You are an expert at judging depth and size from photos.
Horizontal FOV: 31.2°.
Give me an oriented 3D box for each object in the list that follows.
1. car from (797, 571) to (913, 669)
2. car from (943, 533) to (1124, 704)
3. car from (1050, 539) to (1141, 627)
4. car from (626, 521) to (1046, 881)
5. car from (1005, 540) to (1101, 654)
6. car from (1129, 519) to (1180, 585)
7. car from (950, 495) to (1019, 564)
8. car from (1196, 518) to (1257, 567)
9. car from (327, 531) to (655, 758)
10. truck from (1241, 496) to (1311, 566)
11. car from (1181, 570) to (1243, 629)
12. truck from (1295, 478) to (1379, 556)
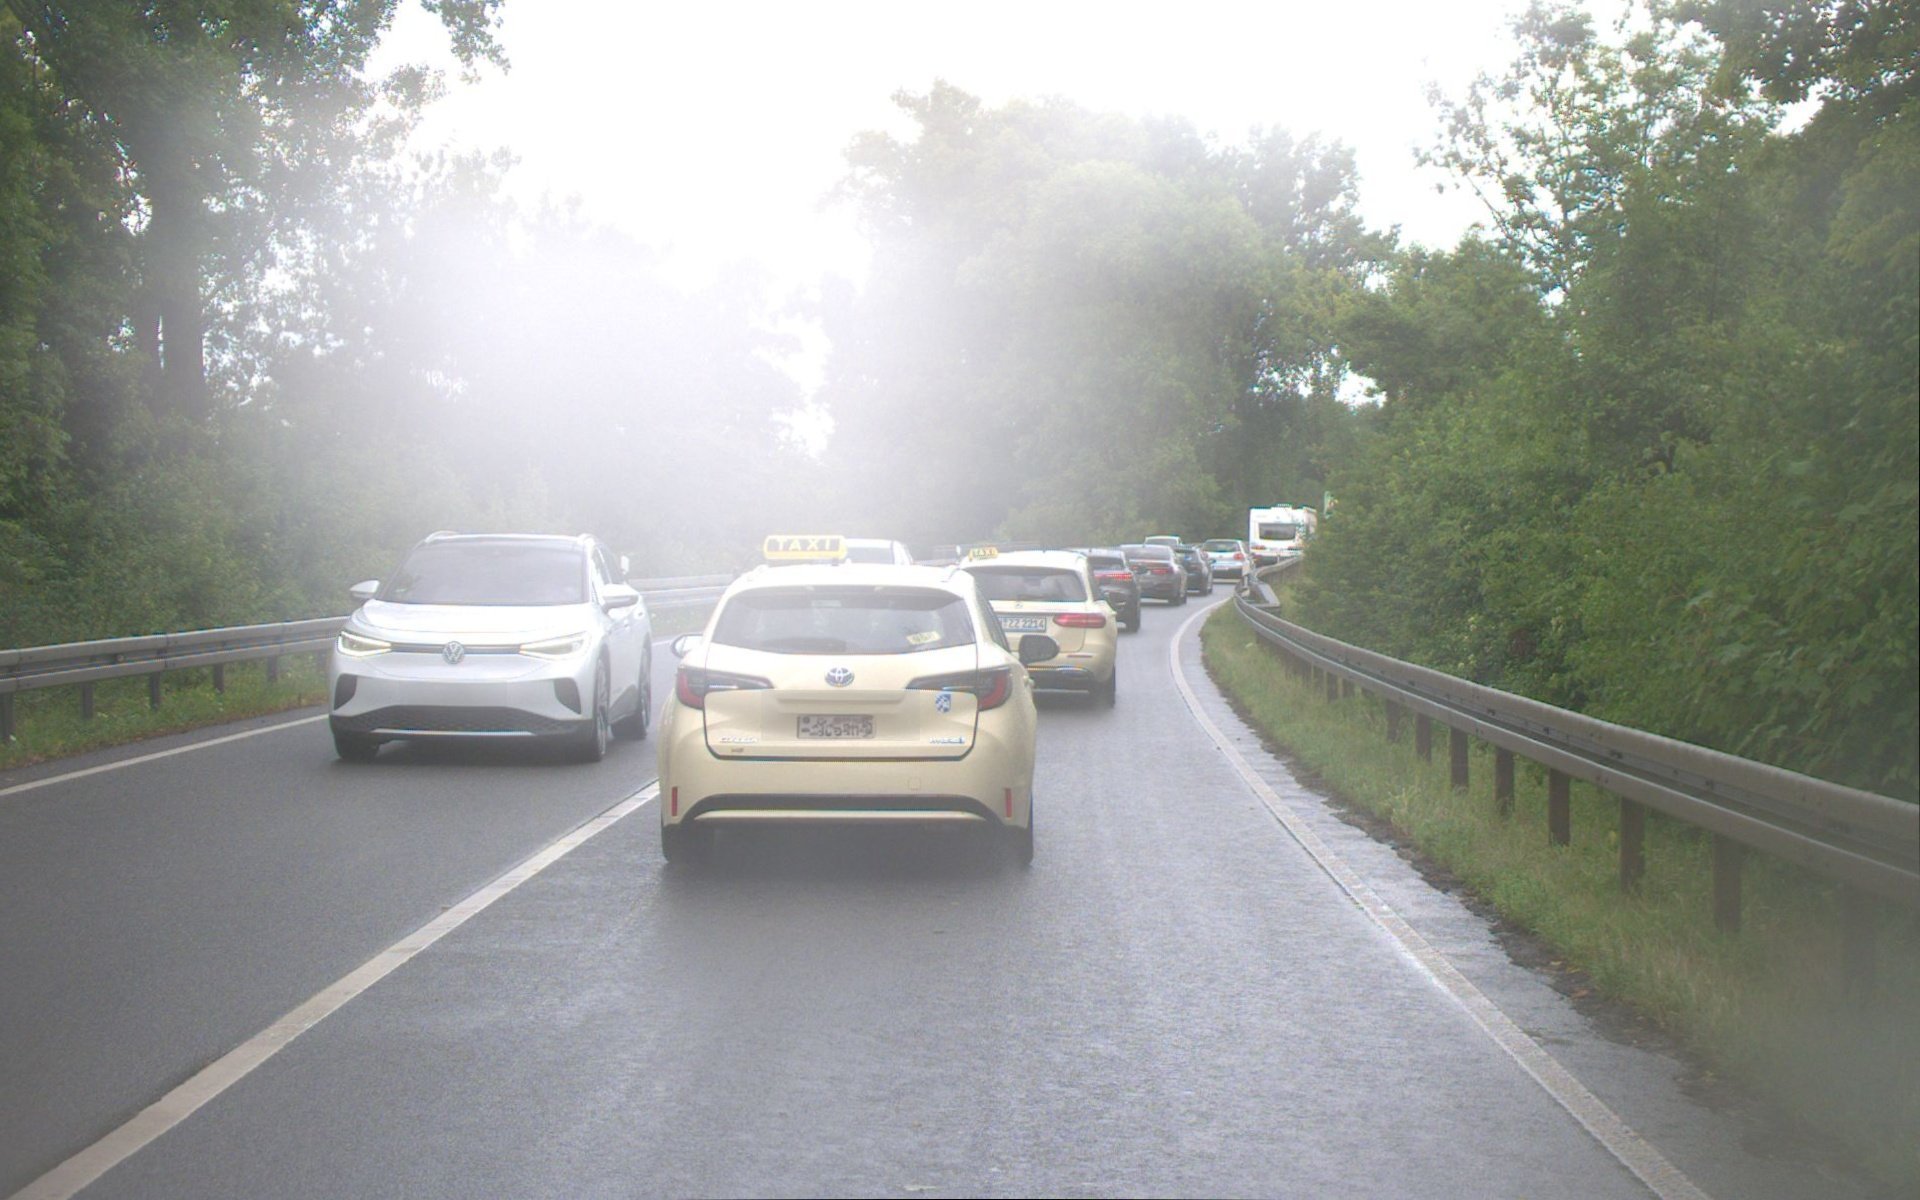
[{"bbox_3d":[-1.789,0.313,59.785,1.692,1.568,4.374,1,1,2],"label":"car"},{"bbox_3d":[0.770,0.168,33.966,1.667,1.575,3.892,1,0,3],"label":"car"},{"bbox_3d":[2.491,-0.278,62.722,1.611,1.541,3.813,0,-1,3],"label":"car"},{"bbox_3d":[-0.498,0.442,17.330,1.834,1.575,4.156,1,0,2],"label":"car"},{"bbox_3d":[1.299,-0.045,48.472,1.300,1.541,3.260,1,0,1],"label":"car"},{"bbox_3d":[4.668,-1.139,82.366,1.167,1.541,2.604,1,0,4],"label":"car"},{"bbox_3d":[0.770,-2.153,105.910,1.994,2.007,4.000,1,0,2],"label":"car"},{"bbox_3d":[8.951,-1.914,115.322,1.770,1.541,3.812,1,0,9],"label":"car"},{"bbox_3d":[-3.341,0.268,25.231,1.807,1.527,4.206,0,1,0],"label":"car"},{"bbox_3d":[13.029,-2.816,142.220,2.550,2.704,7.534,1,0,3],"label":"truck"},{"bbox_3d":[7.051,-0.021,96.059,1.616,1.607,3.621,1,0,6],"label":"car"},{"bbox_3d":[18.793,-4.104,171.016,3.109,3.668,6.995,1,0,15],"label":"truck"}]
